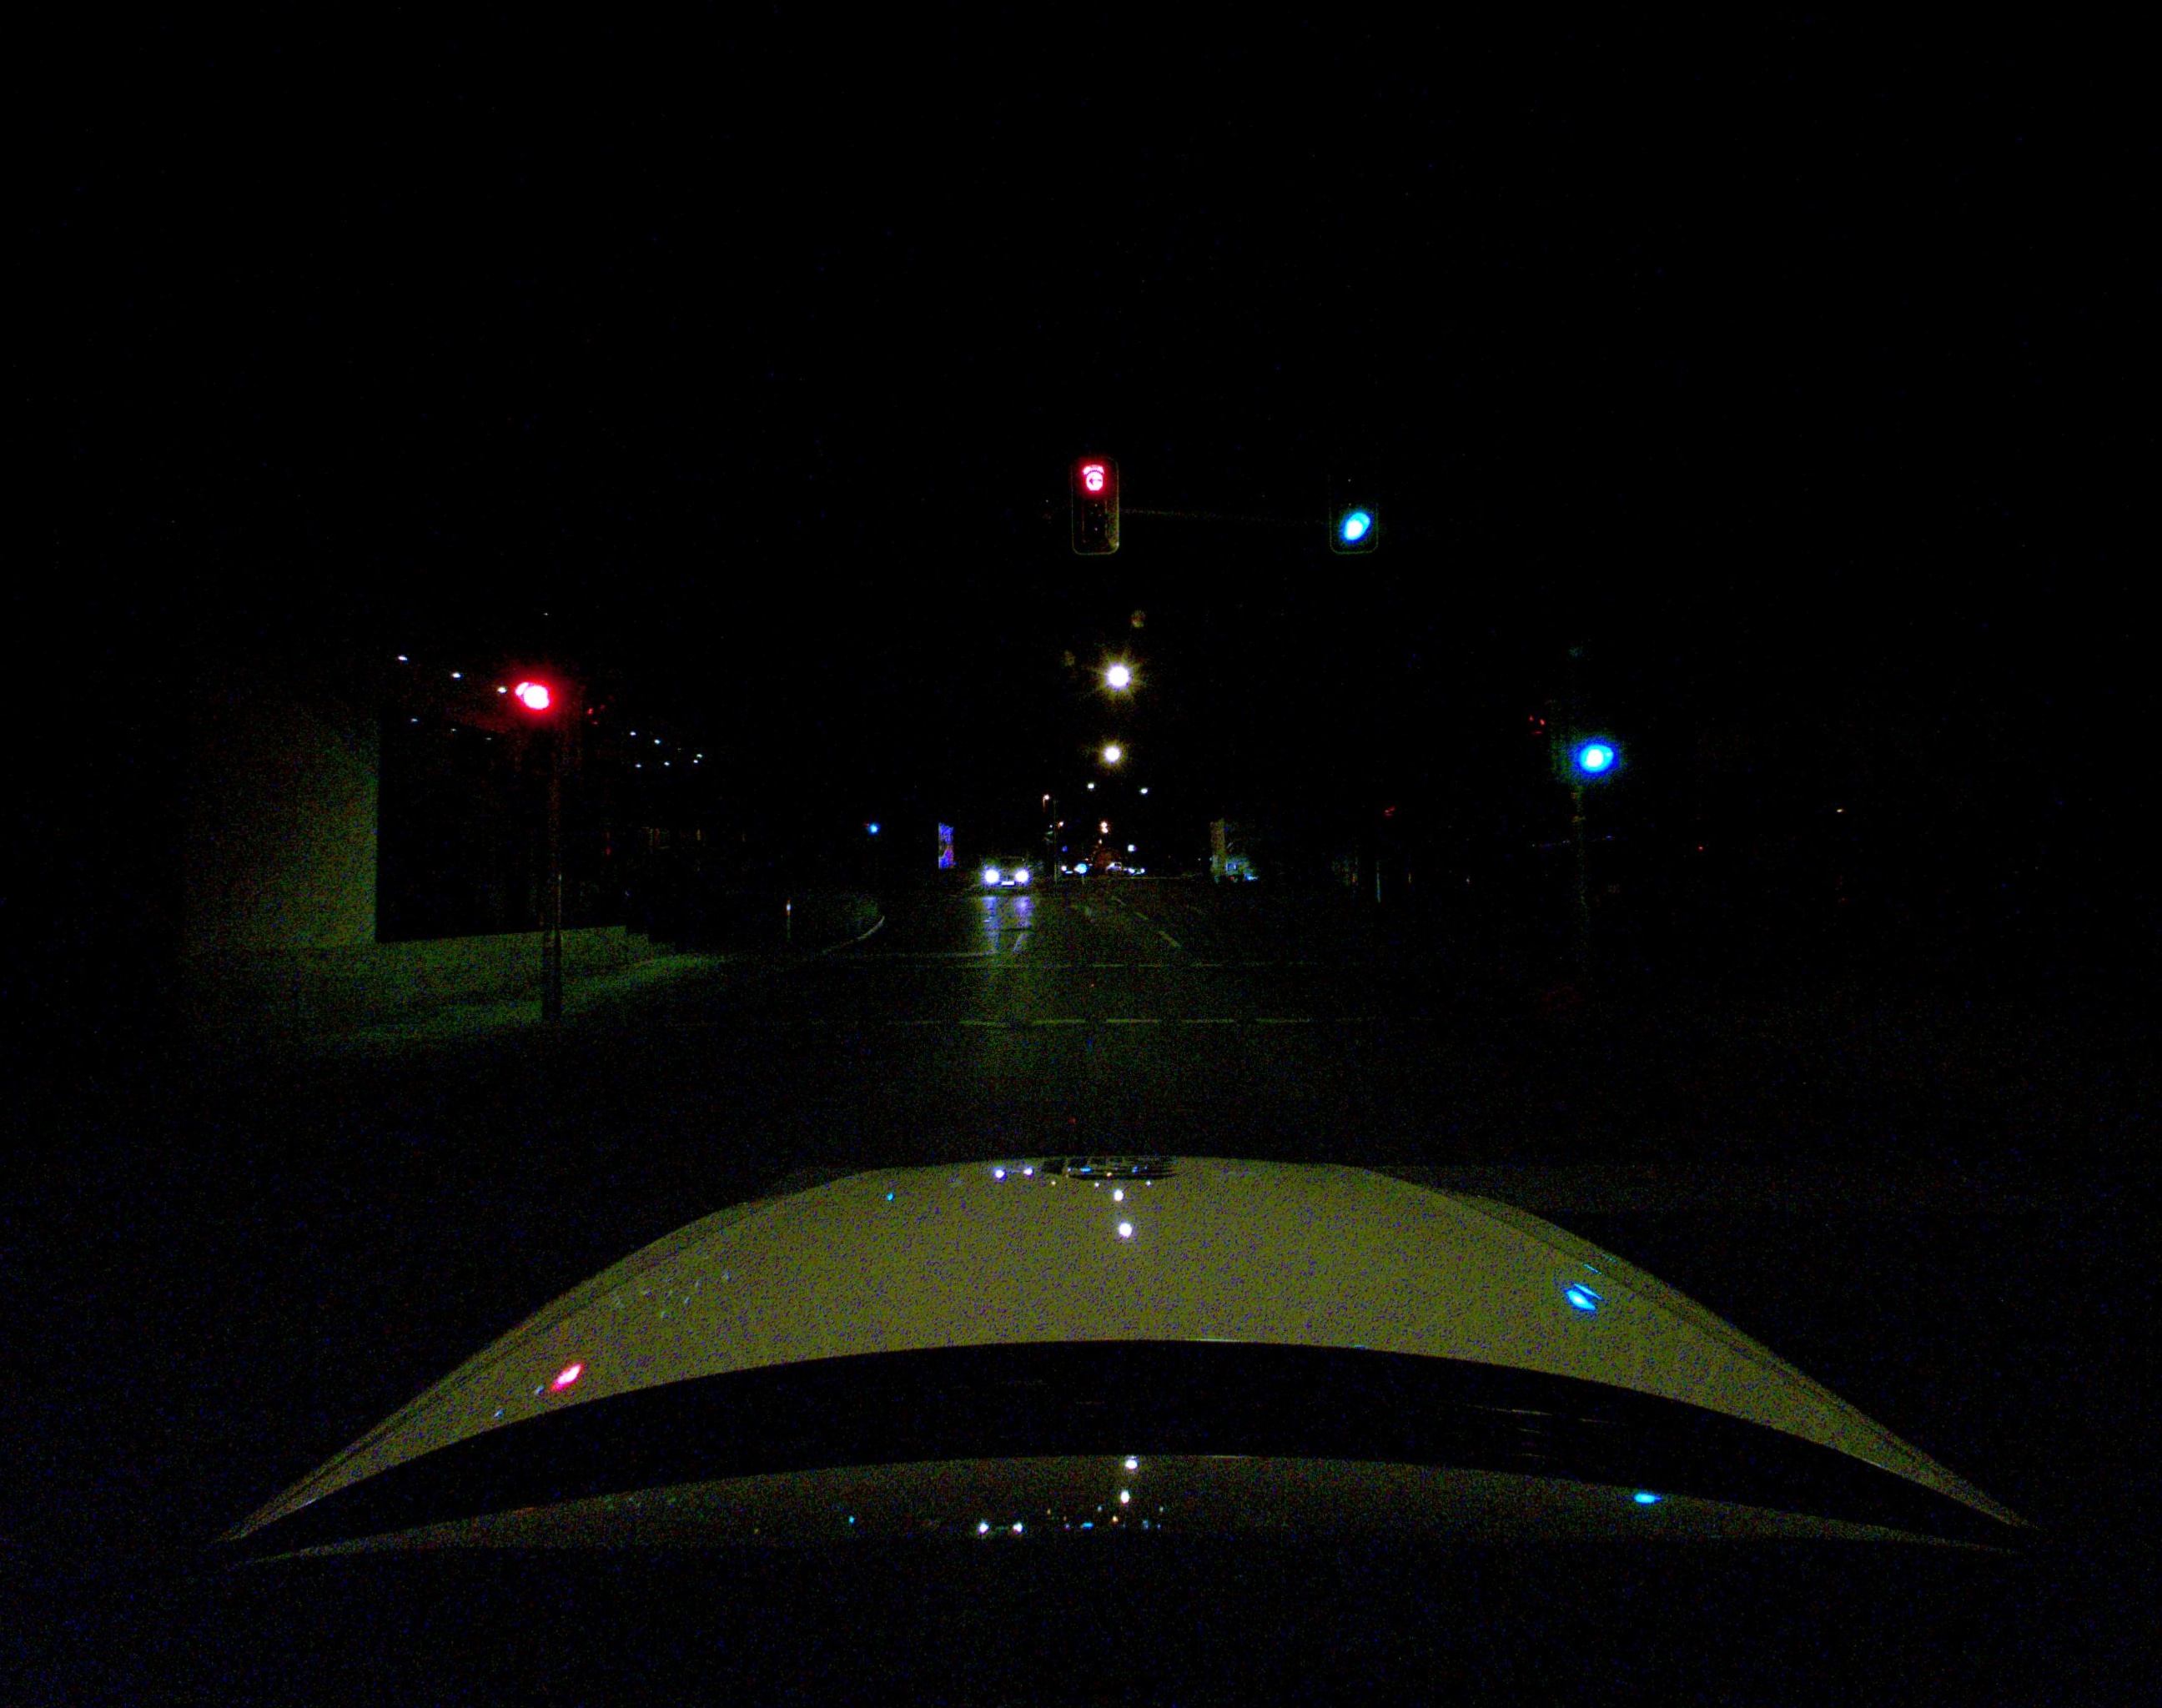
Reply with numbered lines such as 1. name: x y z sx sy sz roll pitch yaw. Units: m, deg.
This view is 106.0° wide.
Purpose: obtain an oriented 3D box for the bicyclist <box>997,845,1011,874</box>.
1. bicyclist: -4.349 0.328 46.213 0.688 1.637 0.896 -1 -1 1

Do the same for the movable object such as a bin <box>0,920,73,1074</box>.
1. movable object such as a bin: -7.933 1.031 5.869 0.633 1.049 0.657 -1 -1 19

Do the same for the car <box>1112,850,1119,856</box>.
1. car: 8.160 -0.298 191.726 1.628 1.452 3.486 0 0 2

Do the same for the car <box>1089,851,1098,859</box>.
1. car: 2.412 0.192 160.920 1.809 1.491 4.000 0 0 0

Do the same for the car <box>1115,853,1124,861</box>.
1. car: 7.586 0.589 159.497 1.628 1.452 3.486 0 0 2

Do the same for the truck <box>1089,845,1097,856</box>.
1. truck: 3.114 -0.873 209.975 2.079 2.848 5.831 0 0 0

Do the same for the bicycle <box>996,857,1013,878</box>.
1. bicycle: -4.352 0.782 46.275 0.693 1.149 1.951 -1 -1 2

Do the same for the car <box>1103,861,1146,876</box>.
1. car: 4.258 1.385 79.723 1.930 1.388 4.535 0 0 -33

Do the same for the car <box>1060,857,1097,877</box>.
1. car: -0.165 0.969 62.009 1.567 1.501 3.415 -1 0 23

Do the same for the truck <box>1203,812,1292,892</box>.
1. truck: 6.920 -0.077 34.657 2.738 3.110 6.262 0 0 2

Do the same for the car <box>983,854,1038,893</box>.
1. car: -2.909 0.783 34.525 1.850 1.534 4.029 0 0 2

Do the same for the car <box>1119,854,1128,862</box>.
1. car: 7.466 0.715 143.567 1.628 1.452 3.486 0 0 2

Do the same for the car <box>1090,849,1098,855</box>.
1. car: 2.975 -0.469 187.322 1.809 1.491 4.000 0 0 0

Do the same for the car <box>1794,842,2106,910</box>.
1. car: 17.315 0.439 16.440 4.107 1.280 1.770 -1 -1 9
